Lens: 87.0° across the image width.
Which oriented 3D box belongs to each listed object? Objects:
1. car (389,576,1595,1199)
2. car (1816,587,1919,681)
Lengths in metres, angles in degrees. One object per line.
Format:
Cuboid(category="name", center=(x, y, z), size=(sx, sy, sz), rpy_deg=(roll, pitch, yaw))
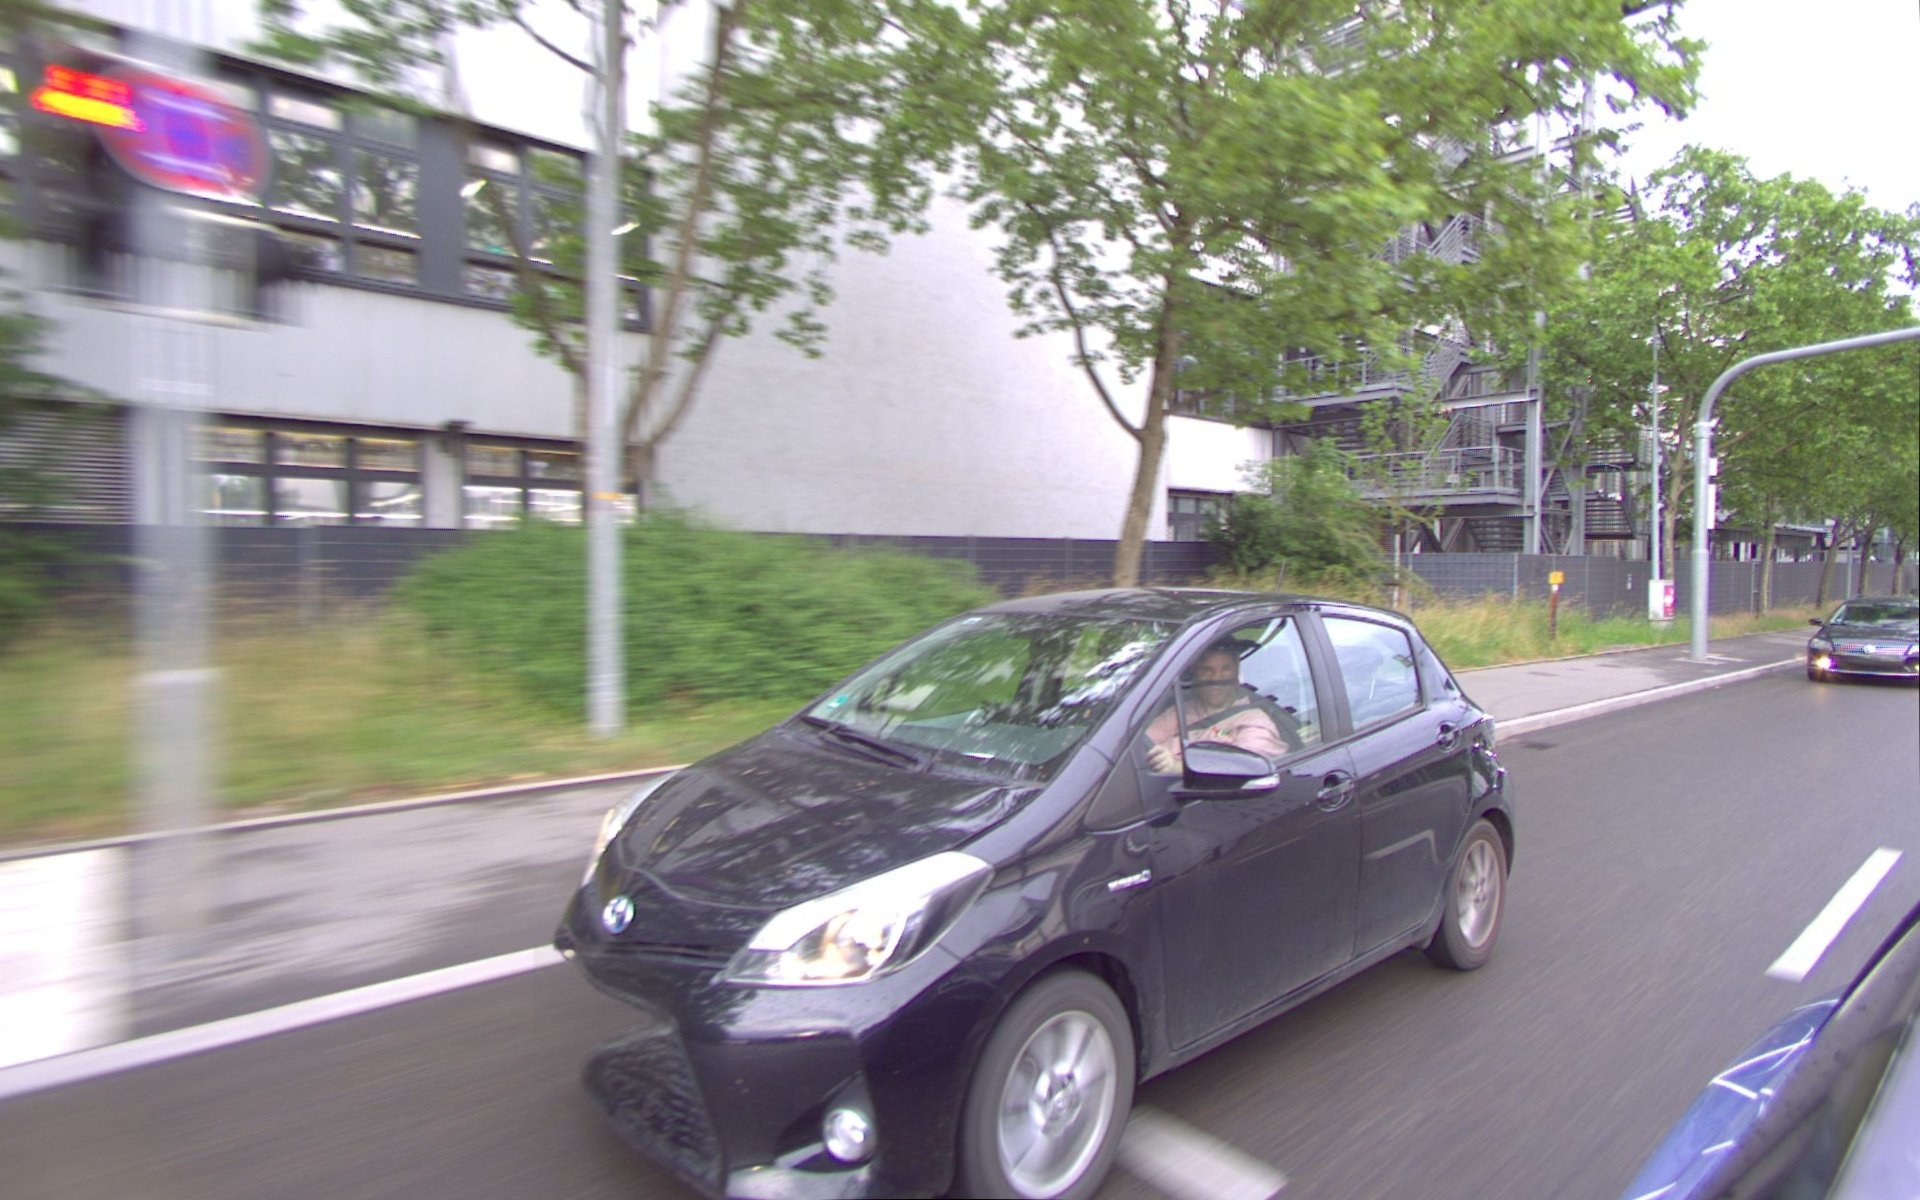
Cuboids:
Cuboid(category="car", center=(0.619, 0.664, 3.783), size=(4.560, 1.488, 1.748), rpy_deg=(-1, 2, -41))
Cuboid(category="car", center=(16.485, 0.515, 17.641), size=(4.439, 1.448, 1.748), rpy_deg=(-1, 2, -41))
